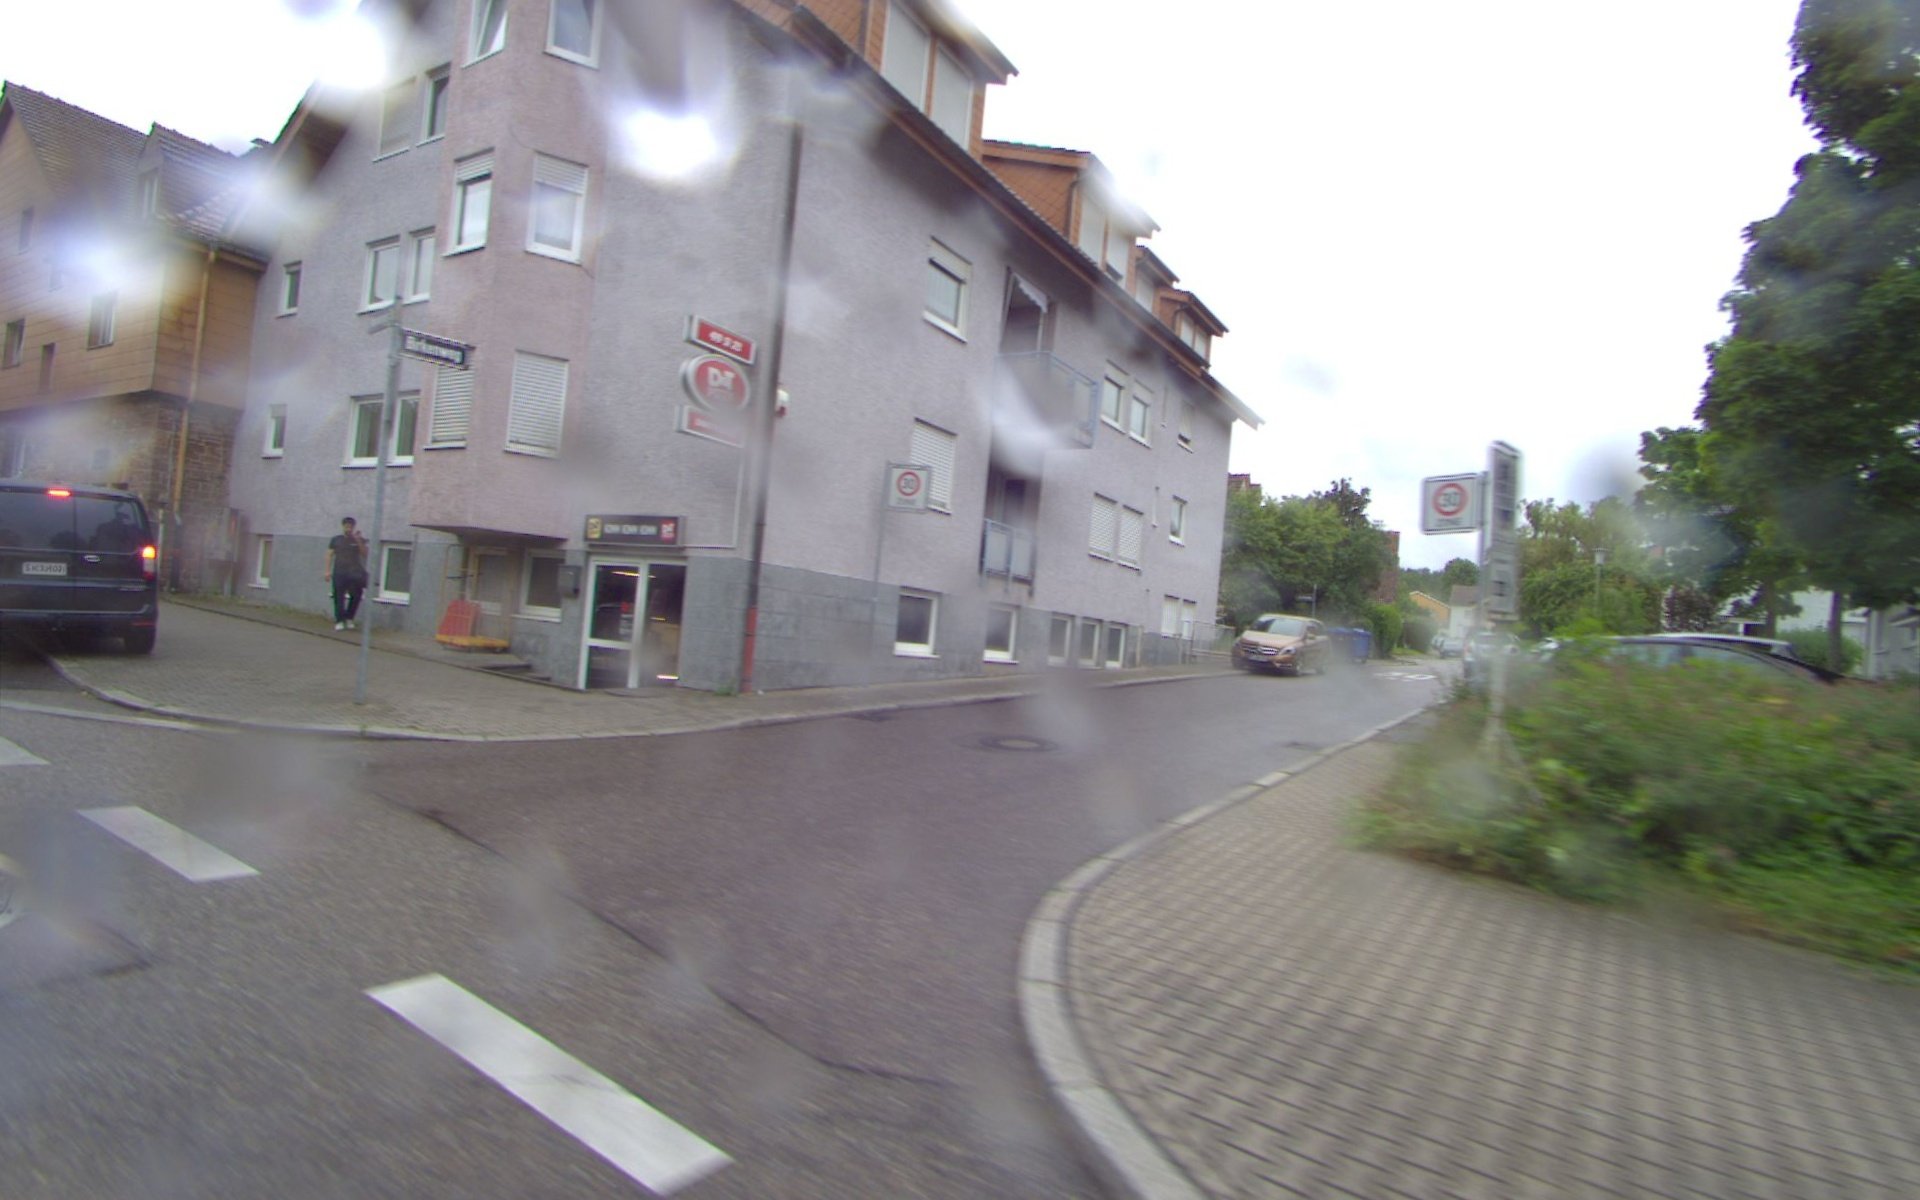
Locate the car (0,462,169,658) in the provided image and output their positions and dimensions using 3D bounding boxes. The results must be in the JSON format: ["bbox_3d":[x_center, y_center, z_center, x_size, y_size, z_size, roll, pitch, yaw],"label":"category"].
[{"bbox_3d":[-10.929,-0.525,11.734,4.697,1.917,1.921,5,2,43],"label":"car"}]

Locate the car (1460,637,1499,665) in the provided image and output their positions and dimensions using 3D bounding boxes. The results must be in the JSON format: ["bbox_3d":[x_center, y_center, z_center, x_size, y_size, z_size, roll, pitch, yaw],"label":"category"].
[{"bbox_3d":[30.827,2.985,59.634,1.576,1.529,3.586,2,0,35],"label":"car"}]

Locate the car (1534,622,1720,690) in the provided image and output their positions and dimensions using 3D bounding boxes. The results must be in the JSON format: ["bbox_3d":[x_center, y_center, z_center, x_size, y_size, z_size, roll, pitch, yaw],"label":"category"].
[{"bbox_3d":[19.454,1.602,29.576,4.373,1.709,1.709,2,0,32],"label":"car"}]

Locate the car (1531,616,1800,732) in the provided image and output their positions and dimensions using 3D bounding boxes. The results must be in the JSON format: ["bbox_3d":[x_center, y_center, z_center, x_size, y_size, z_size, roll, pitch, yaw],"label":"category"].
[{"bbox_3d":[12.902,1.285,18.702,3.837,1.706,1.644,4,2,32],"label":"car"}]

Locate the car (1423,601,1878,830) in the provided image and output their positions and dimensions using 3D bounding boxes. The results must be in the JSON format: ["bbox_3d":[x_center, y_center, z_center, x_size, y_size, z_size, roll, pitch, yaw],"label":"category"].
[{"bbox_3d":[7.206,1.082,10.856,3.616,1.706,1.679,8,3,35],"label":"car"}]

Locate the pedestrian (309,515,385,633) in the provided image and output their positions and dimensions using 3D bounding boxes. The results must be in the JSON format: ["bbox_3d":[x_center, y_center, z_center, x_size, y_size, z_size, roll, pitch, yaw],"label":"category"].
[{"bbox_3d":[-9.768,-0.409,16.028,0.658,1.777,0.690,7,1,33],"label":"pedestrian"}]

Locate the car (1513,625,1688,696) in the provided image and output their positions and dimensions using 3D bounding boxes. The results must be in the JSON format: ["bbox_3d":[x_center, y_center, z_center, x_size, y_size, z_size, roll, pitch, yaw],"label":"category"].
[{"bbox_3d":[15.997,1.468,25.304,3.542,1.530,1.595,2,0,31],"label":"car"}]

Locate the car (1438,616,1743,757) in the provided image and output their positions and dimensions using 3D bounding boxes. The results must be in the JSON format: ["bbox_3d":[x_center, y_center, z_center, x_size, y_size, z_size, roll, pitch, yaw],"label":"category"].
[{"bbox_3d":[9.193,1.165,14.864,3.568,1.655,1.593,3,1,35],"label":"car"}]

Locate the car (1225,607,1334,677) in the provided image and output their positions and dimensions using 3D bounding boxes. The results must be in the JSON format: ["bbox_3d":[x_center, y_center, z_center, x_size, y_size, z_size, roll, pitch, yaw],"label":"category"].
[{"bbox_3d":[8.684,1.119,27.198,1.737,1.584,3.611,8,3,33],"label":"car"}]

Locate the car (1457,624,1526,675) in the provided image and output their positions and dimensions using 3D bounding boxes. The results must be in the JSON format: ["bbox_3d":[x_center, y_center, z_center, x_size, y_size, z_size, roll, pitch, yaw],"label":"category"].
[{"bbox_3d":[18.854,1.717,35.610,1.744,1.643,3.586,2,0,34],"label":"car"}]

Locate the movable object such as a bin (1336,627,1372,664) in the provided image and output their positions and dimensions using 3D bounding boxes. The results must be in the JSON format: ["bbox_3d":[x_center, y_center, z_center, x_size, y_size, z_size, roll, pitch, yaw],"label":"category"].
[{"bbox_3d":[15.866,1.839,40.505,1.040,1.255,1.132,8,-1,32],"label":"movable object such as a bin"}]

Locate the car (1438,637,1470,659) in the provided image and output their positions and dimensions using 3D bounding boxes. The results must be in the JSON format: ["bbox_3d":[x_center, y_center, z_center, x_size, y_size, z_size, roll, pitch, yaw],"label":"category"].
[{"bbox_3d":[36.873,3.530,75.093,1.576,1.529,3.586,2,0,35],"label":"car"}]

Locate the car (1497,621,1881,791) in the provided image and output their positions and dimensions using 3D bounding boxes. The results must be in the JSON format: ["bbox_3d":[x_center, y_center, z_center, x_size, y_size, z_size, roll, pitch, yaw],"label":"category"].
[{"bbox_3d":[8.800,1.172,12.456,3.545,1.604,1.643,4,2,35],"label":"car"}]

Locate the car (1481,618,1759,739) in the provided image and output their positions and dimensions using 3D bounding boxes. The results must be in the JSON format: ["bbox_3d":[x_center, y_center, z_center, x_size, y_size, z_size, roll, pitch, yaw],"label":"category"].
[{"bbox_3d":[10.797,1.198,16.650,3.618,1.655,1.643,2,1,35],"label":"car"}]

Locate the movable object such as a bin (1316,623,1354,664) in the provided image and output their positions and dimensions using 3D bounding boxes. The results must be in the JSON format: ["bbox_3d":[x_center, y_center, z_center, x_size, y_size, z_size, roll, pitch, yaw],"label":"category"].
[{"bbox_3d":[14.669,1.708,39.345,1.040,1.363,1.132,8,-1,32],"label":"movable object such as a bin"}]
